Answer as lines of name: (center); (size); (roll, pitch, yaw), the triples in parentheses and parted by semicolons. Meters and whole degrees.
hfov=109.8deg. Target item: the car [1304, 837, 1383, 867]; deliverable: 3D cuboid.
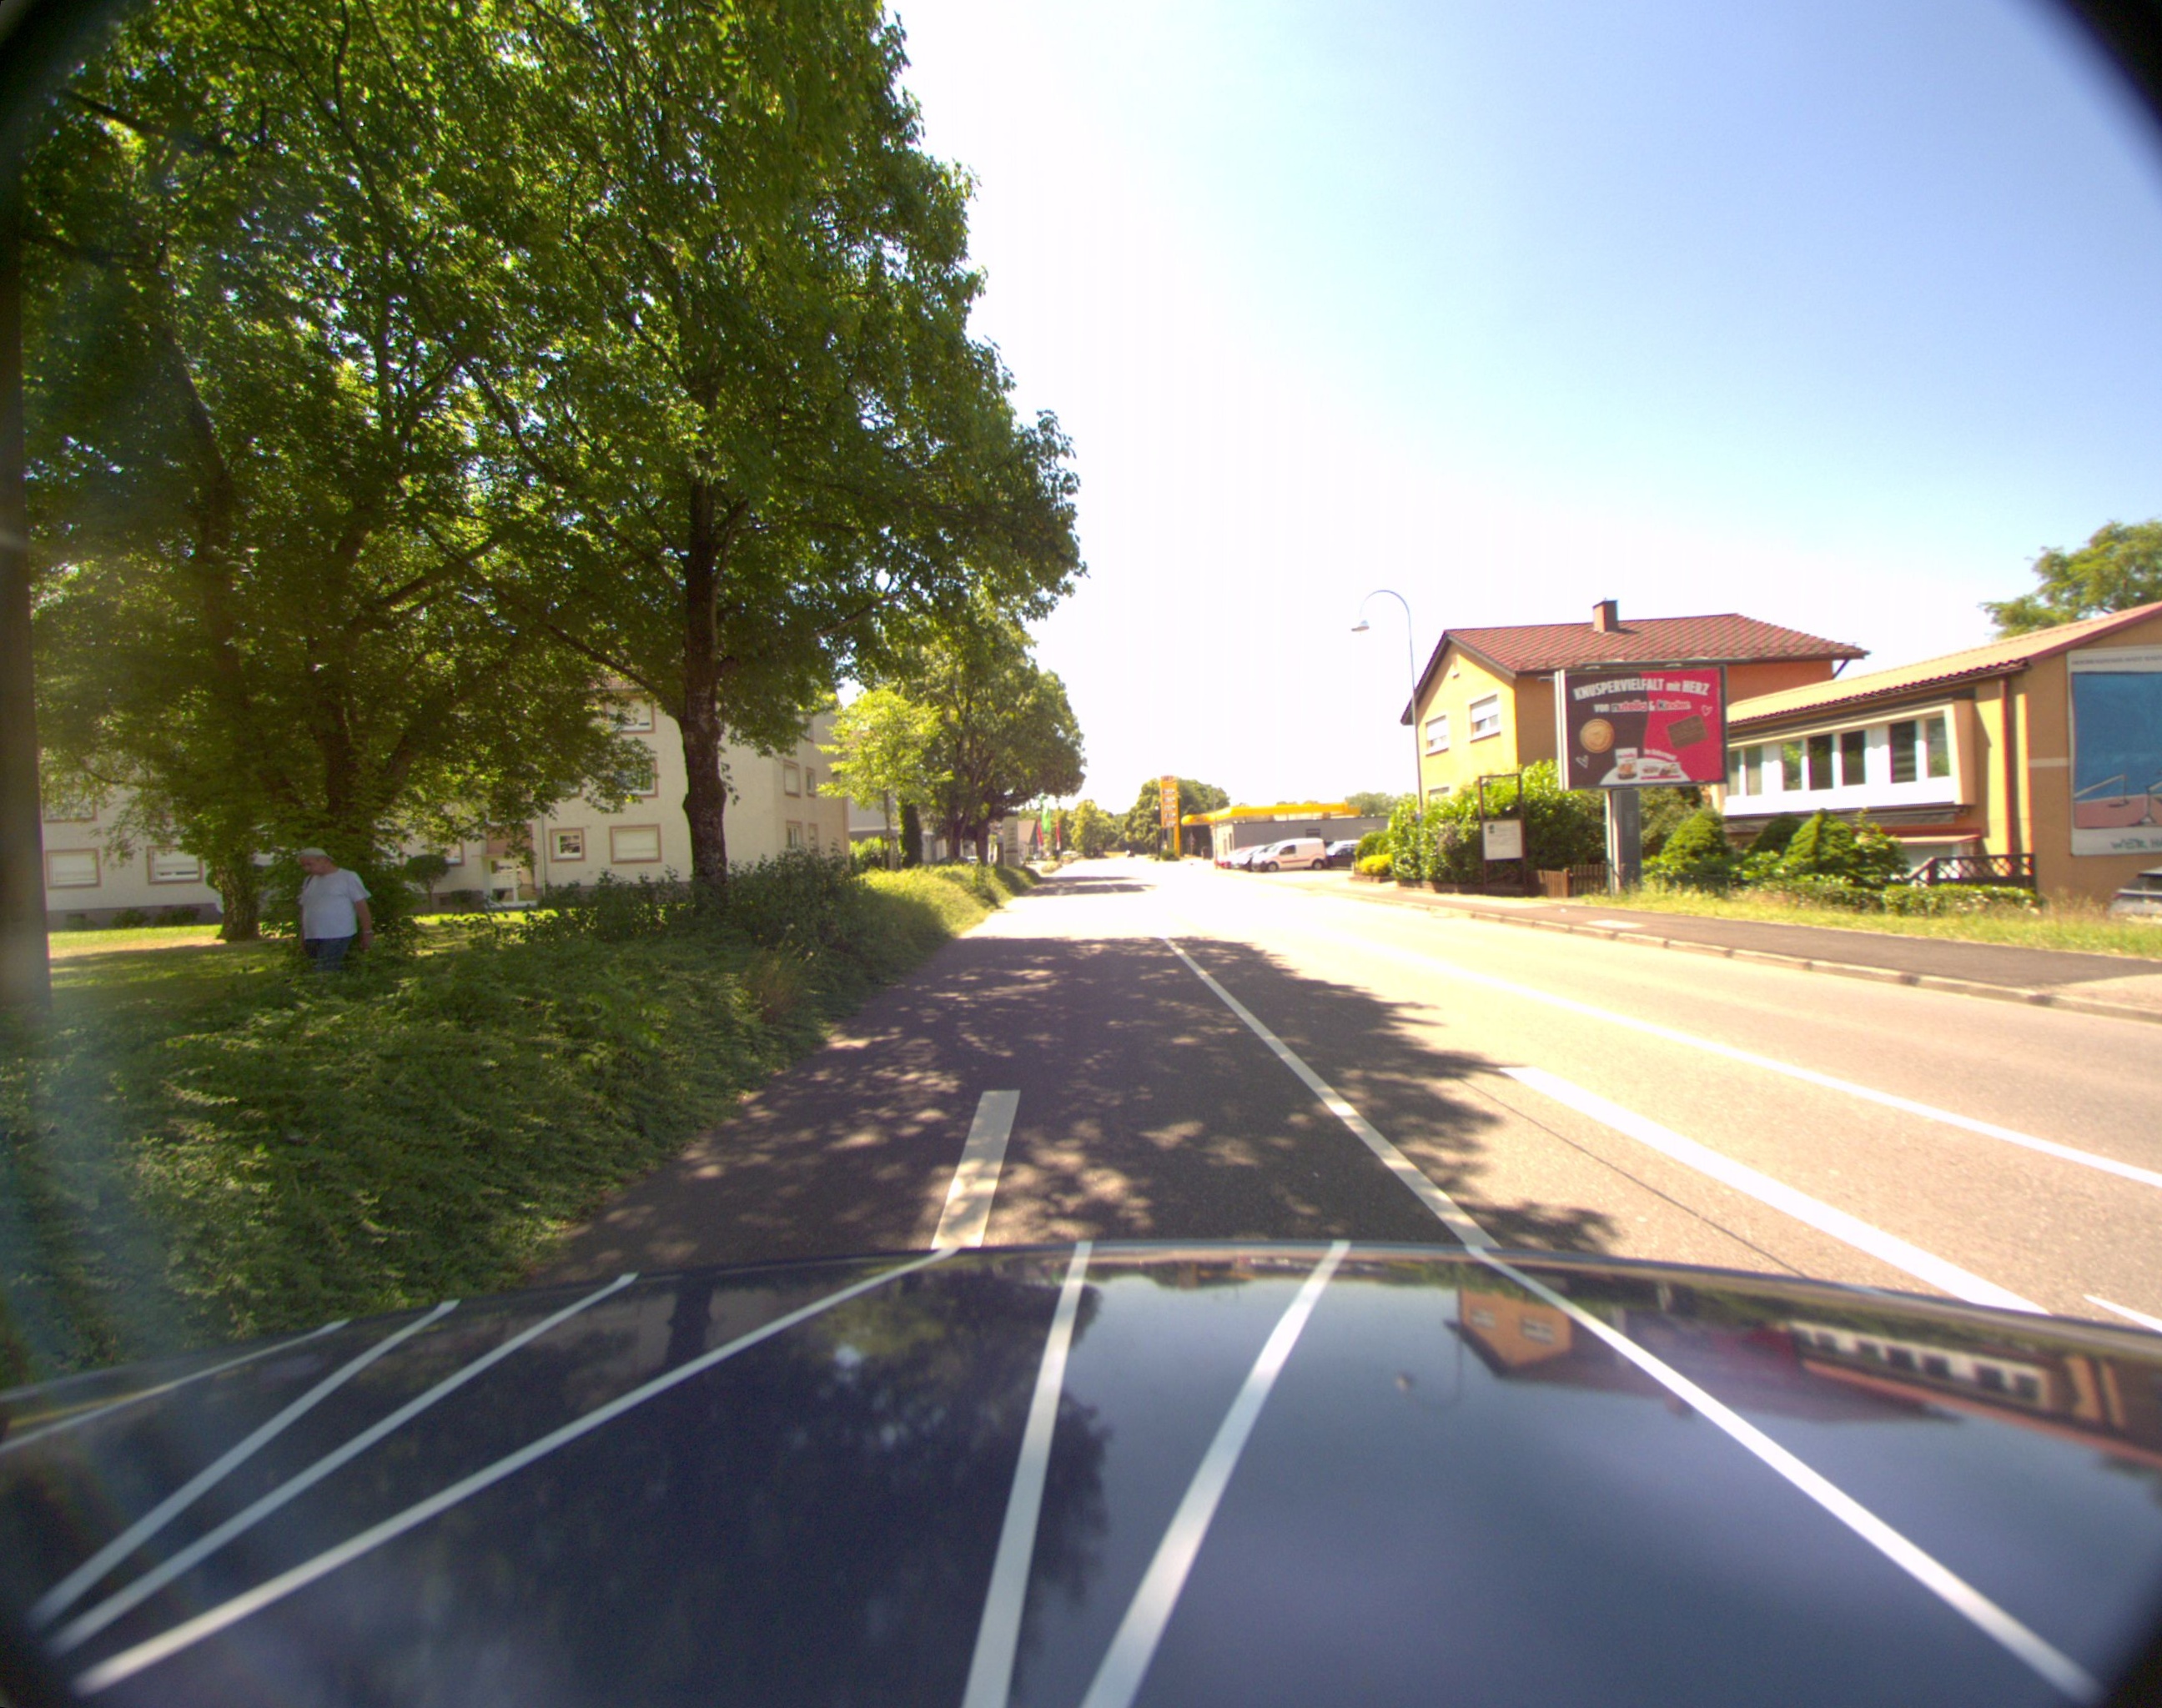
car: (16.796, -0.144, 48.735); (4.402, 1.815, 1.874); (-2, 1, -5)

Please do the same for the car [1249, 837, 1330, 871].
car: (12.158, -0.004, 44.429); (4.191, 1.858, 1.874); (-2, 1, -5)

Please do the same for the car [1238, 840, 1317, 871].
car: (11.997, 0.099, 46.499); (4.246, 1.750, 1.874); (-2, 1, -5)

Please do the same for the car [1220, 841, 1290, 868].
car: (12.225, 0.016, 53.451); (4.402, 1.750, 1.874); (-2, 1, -5)

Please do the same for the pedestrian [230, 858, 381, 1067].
pedestrian: (-7.440, 0.975, 7.341); (0.675, 1.862, 0.901); (-1, 1, -21)

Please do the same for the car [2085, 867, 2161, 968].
car: (19.834, 1.010, 12.370); (4.224, 1.599, 1.772); (-1, 1, 7)

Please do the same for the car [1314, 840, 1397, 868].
car: (16.748, 0.006, 46.453); (4.402, 1.554, 1.874); (-2, 1, -5)

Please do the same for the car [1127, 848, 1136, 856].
car: (10.504, -0.516, 157.907); (1.809, 1.552, 4.063); (-2, 1, 3)

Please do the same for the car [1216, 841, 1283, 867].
car: (12.249, -0.007, 55.488); (4.402, 1.750, 1.874); (-2, 1, -5)

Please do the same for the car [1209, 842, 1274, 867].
car: (12.207, 0.051, 57.934); (4.402, 1.750, 1.874); (-2, 1, -5)

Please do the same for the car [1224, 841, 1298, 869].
car: (12.057, 0.072, 51.075); (4.402, 1.750, 1.874); (-2, 1, -5)

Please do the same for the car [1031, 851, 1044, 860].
car: (-7.881, 0.291, 136.932); (1.772, 1.521, 4.126); (-2, 1, -10)
